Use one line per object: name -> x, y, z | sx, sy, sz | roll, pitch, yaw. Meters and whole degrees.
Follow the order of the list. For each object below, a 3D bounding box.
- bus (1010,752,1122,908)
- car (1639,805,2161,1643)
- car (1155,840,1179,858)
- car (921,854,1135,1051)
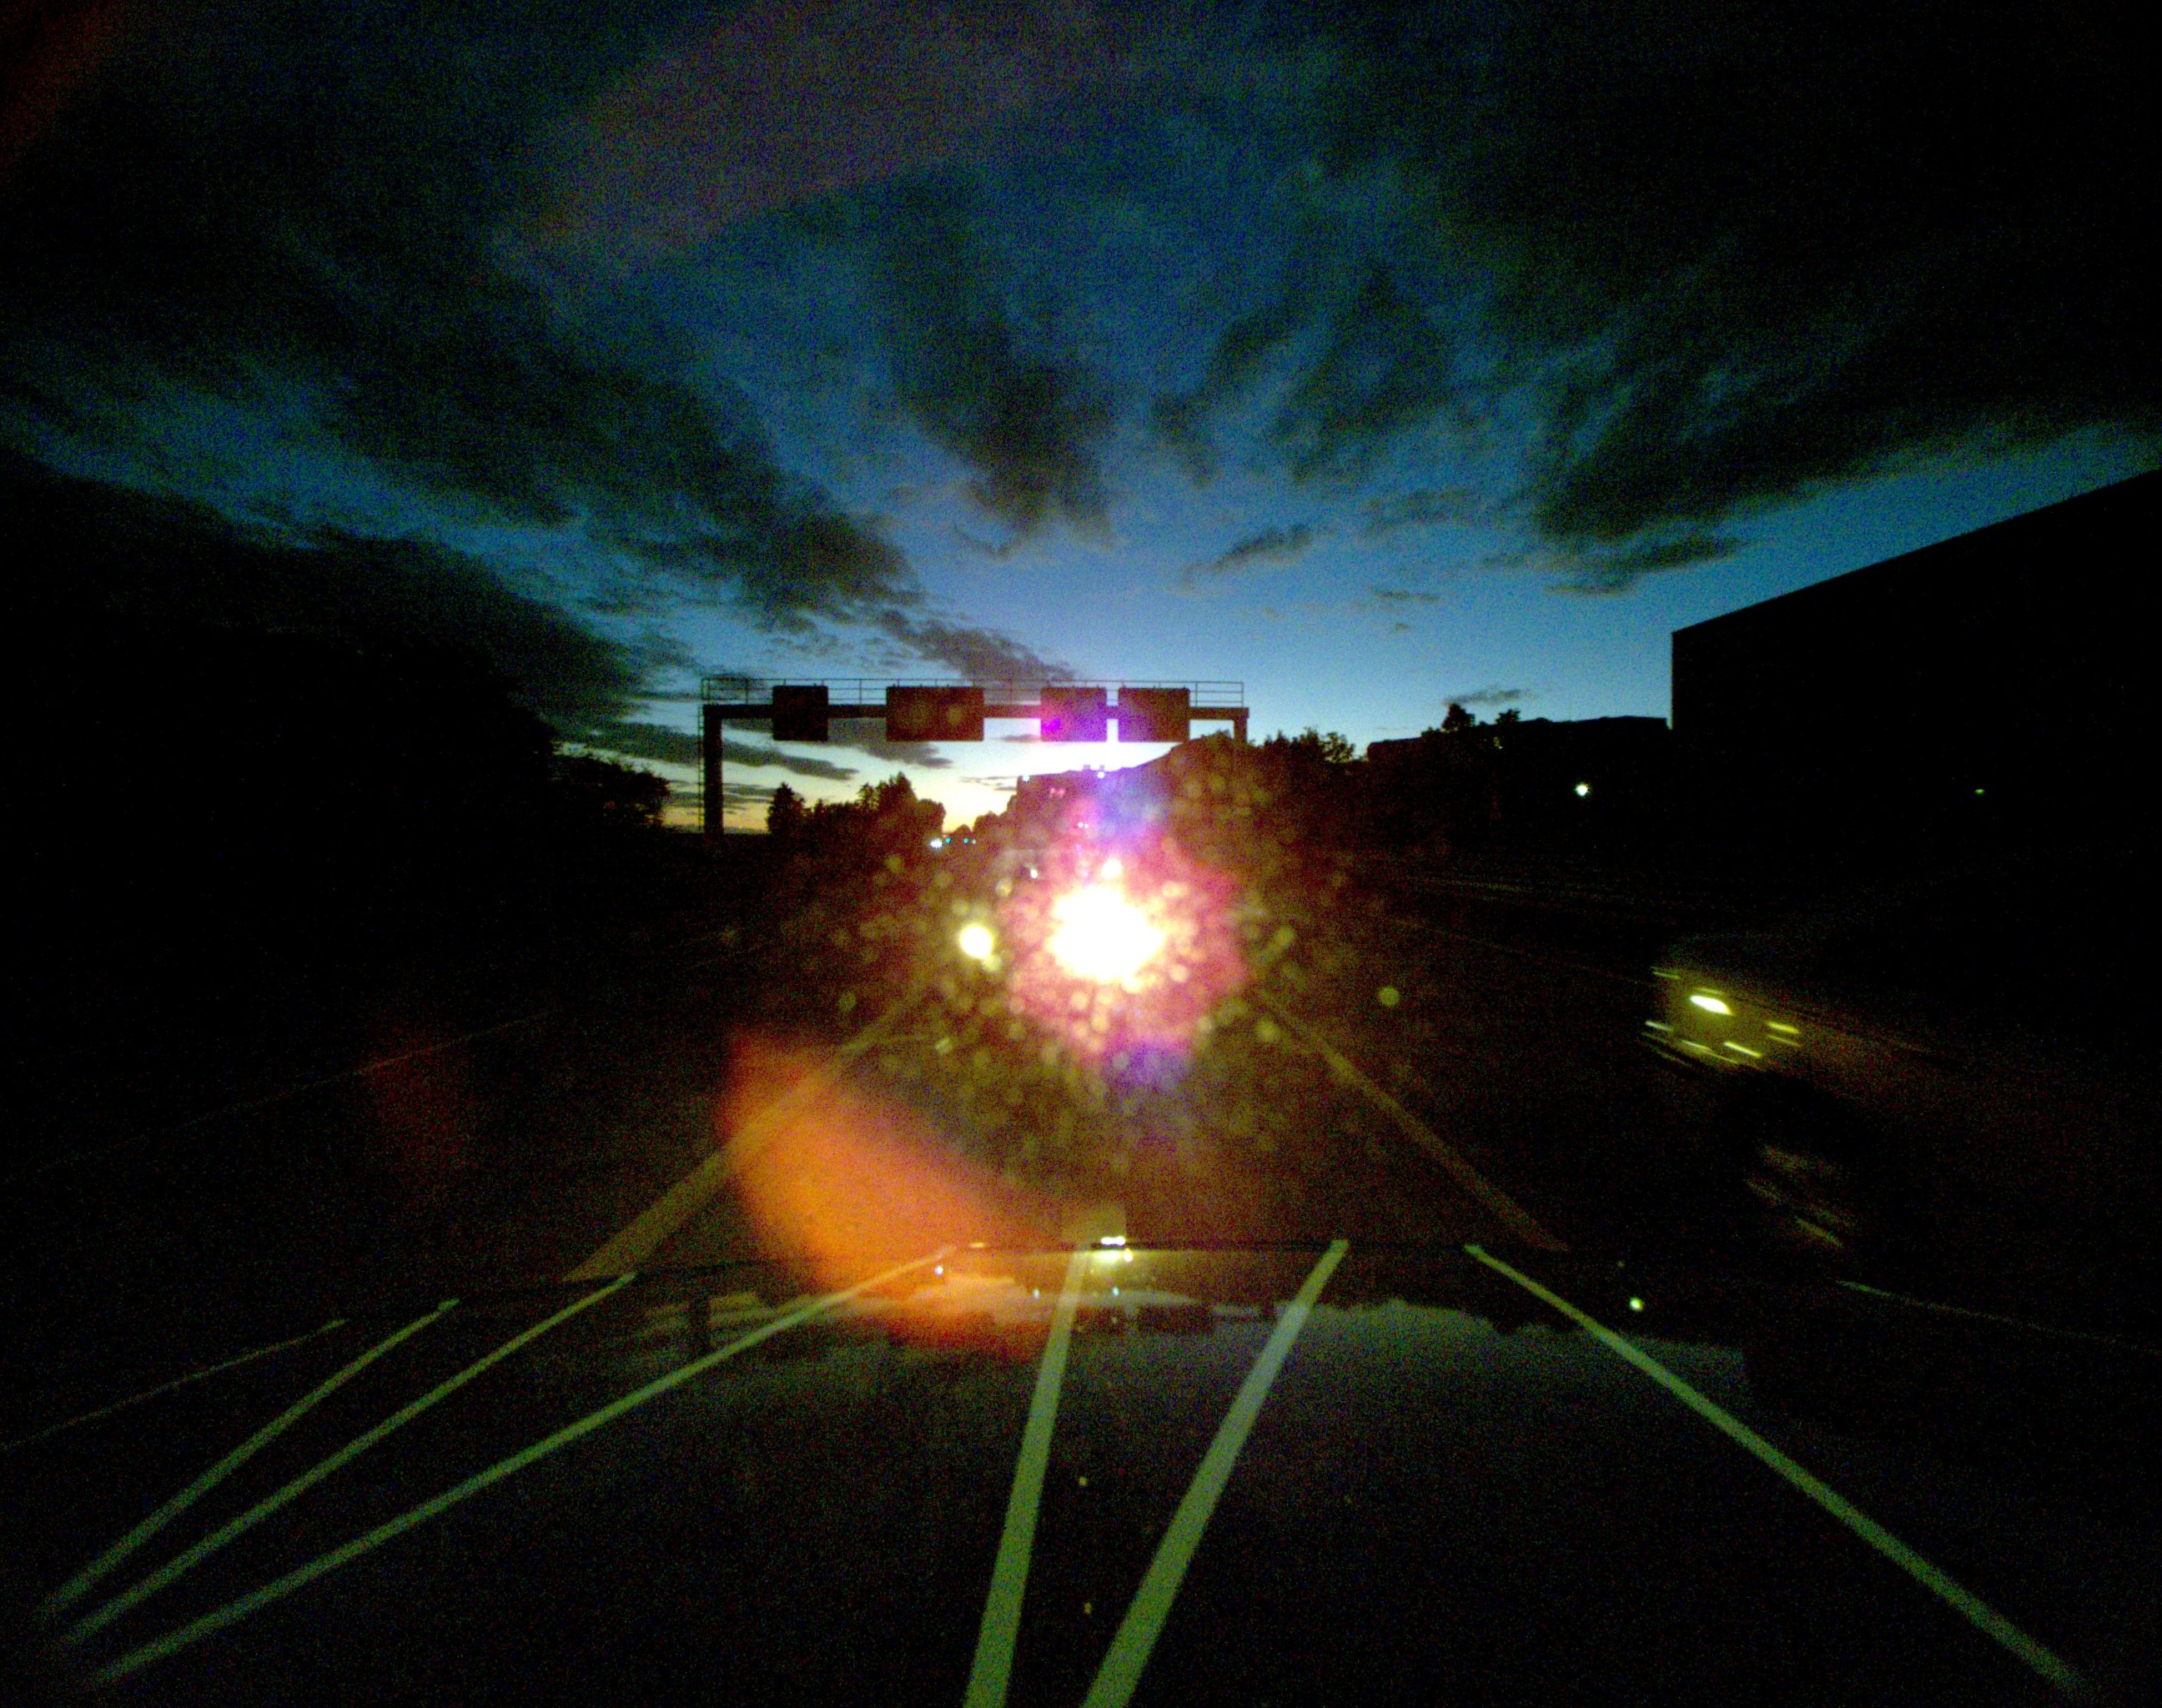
bus -> -0.519, -0.717, 24.979 | 2.614, 3.769, 12.271 | -2, 1, -1
car -> 2.918, 0.717, 0.663 | 1.670, 1.643, 4.410 | -2, 1, 1
car -> 7.369, -0.458, 65.393 | 1.761, 1.435, 4.110 | -1, 1, 4
car -> -0.319, 0.800, 7.960 | 1.669, 1.472, 3.776 | -2, 1, 3
